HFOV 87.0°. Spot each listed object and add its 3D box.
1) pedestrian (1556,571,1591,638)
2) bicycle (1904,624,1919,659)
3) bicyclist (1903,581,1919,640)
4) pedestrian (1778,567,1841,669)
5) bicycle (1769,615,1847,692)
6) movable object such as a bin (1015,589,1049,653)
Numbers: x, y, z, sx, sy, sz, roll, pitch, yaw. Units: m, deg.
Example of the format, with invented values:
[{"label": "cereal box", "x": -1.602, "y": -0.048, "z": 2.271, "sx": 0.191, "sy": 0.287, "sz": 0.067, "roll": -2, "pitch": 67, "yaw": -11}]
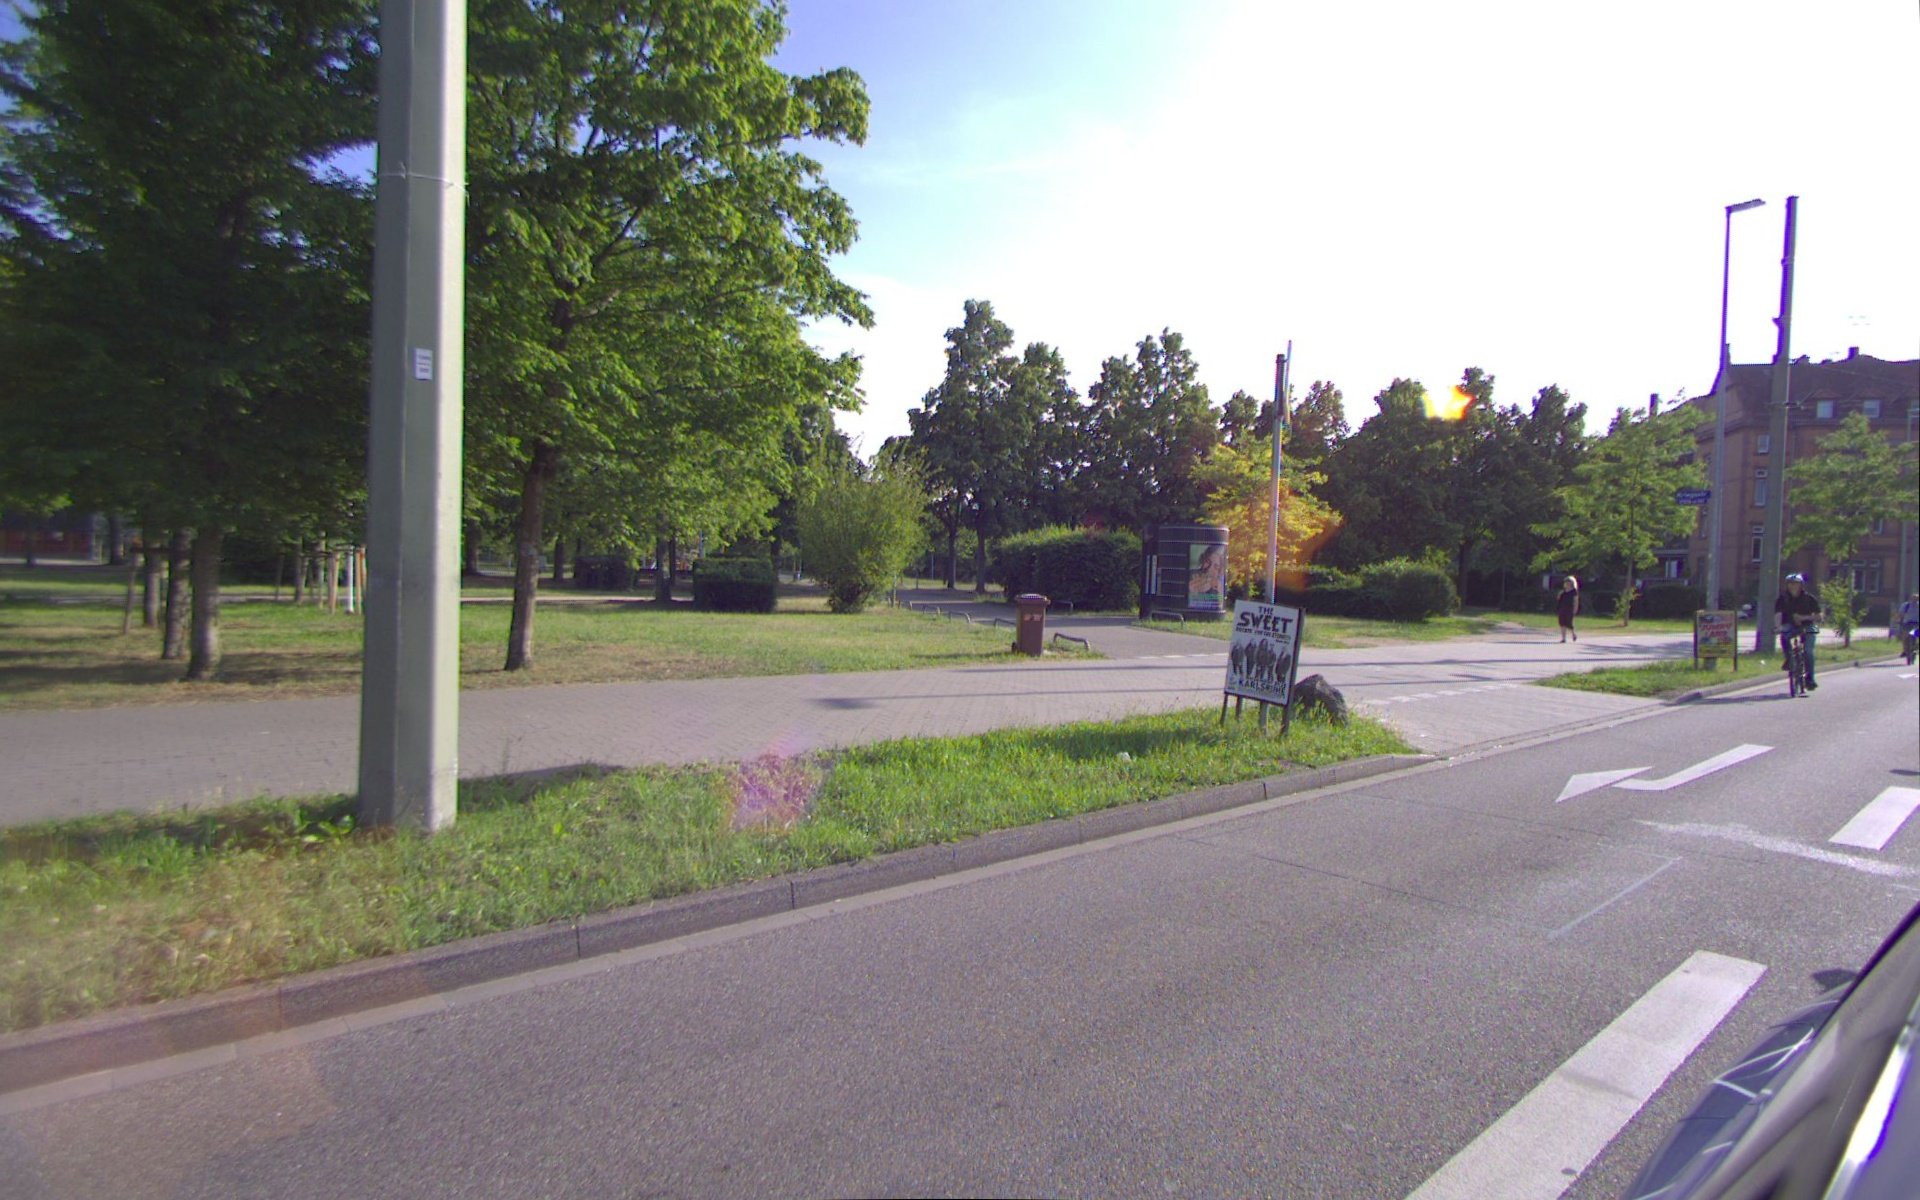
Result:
[{"label": "pedestrian", "x": 15.880, "y": 0.119, "z": 26.199, "sx": 0.607, "sy": 1.706, "sz": 0.621, "roll": 1, "pitch": 0, "yaw": -40}, {"label": "bicycle", "x": 24.517, "y": 1.055, "z": 25.711, "sx": 2.006, "sy": 0.803, "sz": 0.567, "roll": 0, "pitch": 2, "yaw": -42}, {"label": "bicyclist", "x": 24.503, "y": 0.268, "z": 25.697, "sx": 1.092, "sy": 1.472, "sz": 0.688, "roll": 0, "pitch": 2, "yaw": -42}, {"label": "pedestrian", "x": 13.295, "y": 0.264, "z": 15.854, "sx": 0.632, "sy": 1.540, "sz": 0.835, "roll": 0, "pitch": 0, "yaw": 32}, {"label": "bicycle", "x": 13.167, "y": 0.798, "z": 15.755, "sx": 0.647, "sy": 1.059, "sz": 1.958, "roll": 0, "pitch": 0, "yaw": 32}, {"label": "movable object such as a bin", "x": 1.098, "y": 0.304, "z": 15.452, "sx": 0.447, "sy": 0.929, "sz": 0.605, "roll": 2, "pitch": 2, "yaw": 1}]
